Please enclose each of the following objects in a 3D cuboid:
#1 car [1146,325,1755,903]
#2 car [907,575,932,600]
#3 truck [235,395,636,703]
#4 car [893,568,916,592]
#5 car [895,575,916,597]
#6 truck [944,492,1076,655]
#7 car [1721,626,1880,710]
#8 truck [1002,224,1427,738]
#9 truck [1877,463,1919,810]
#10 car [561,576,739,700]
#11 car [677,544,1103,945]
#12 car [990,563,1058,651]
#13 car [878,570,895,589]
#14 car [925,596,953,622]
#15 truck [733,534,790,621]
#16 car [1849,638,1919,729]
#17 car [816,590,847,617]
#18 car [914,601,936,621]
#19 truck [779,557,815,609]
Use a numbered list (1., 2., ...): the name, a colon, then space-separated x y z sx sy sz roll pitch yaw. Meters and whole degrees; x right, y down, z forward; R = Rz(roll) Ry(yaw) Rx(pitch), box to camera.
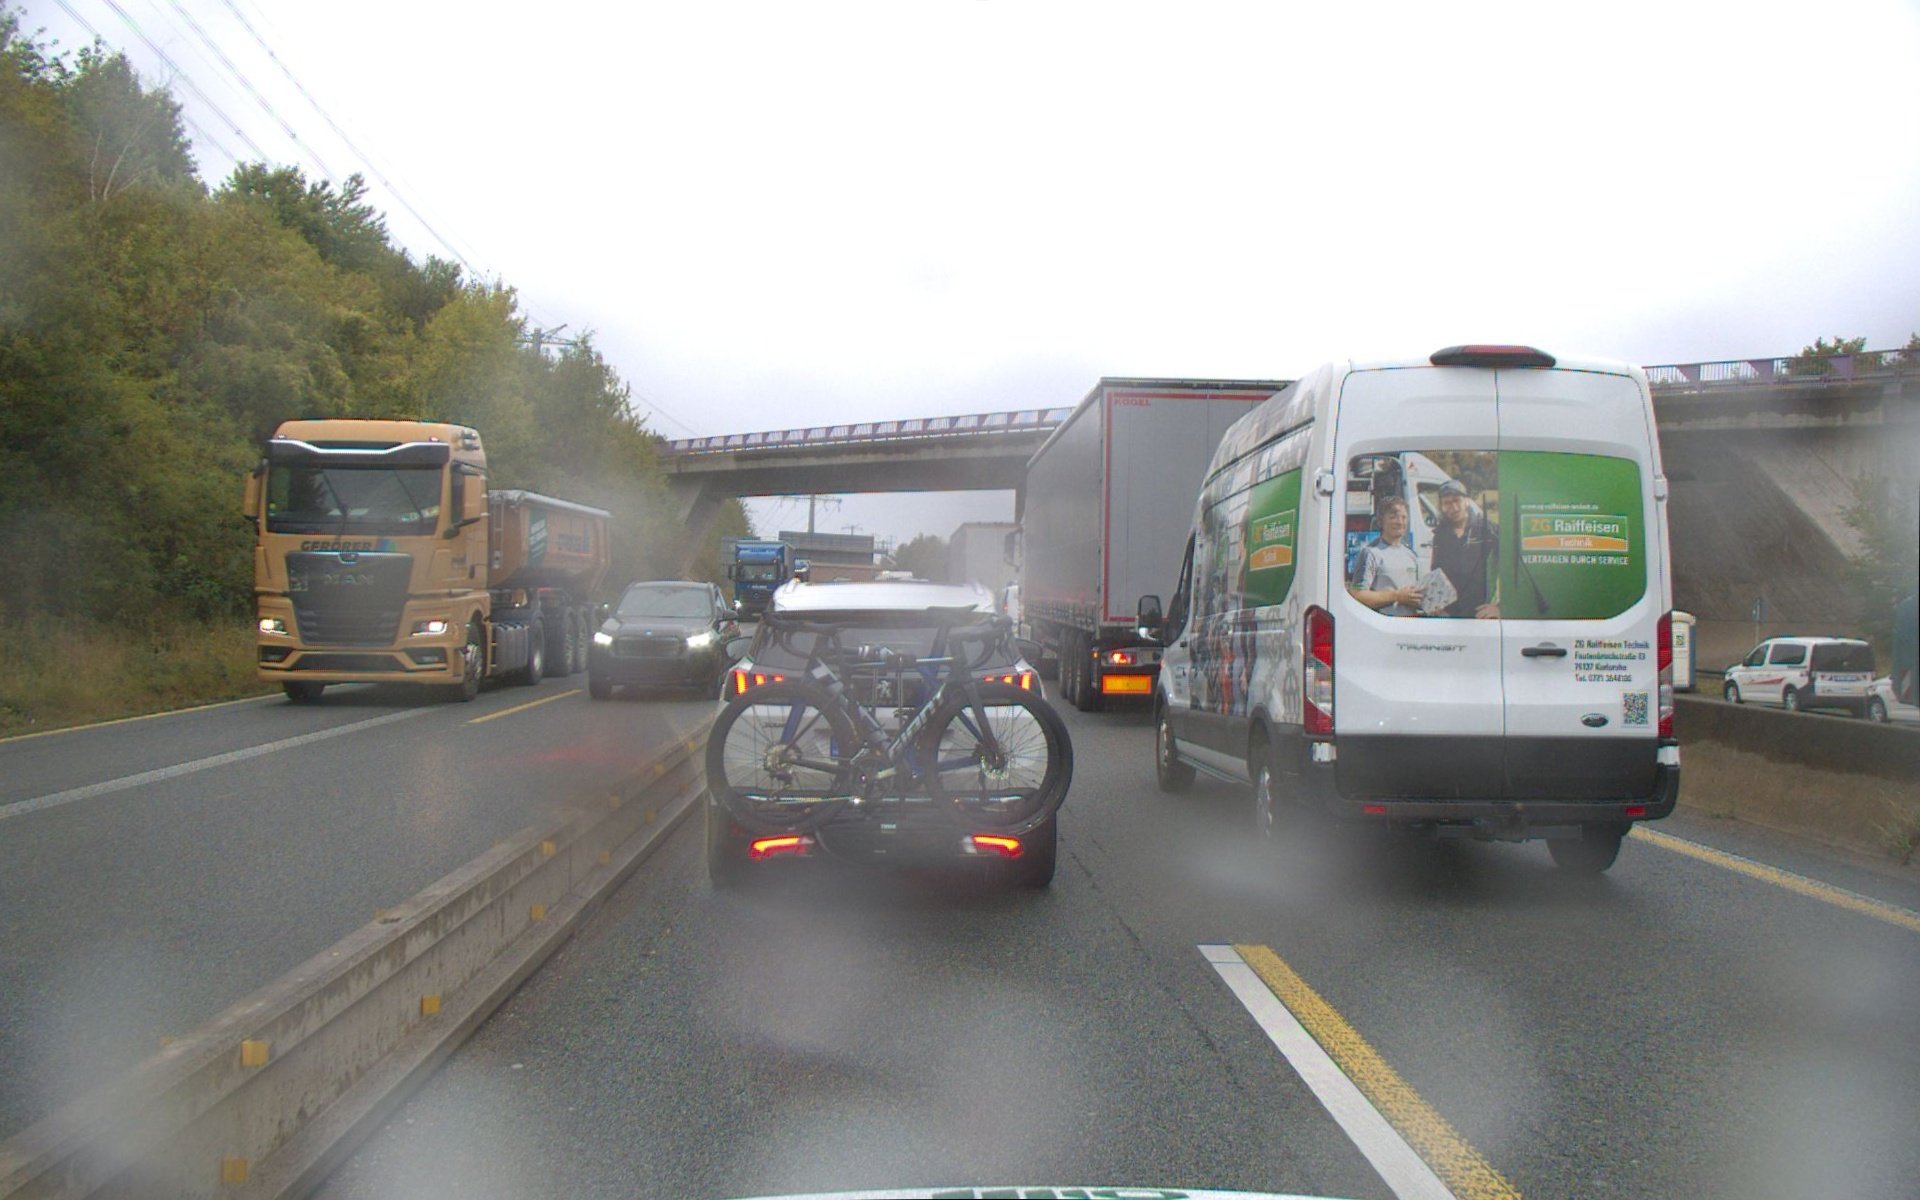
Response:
1. car: 2.687 0.083 10.927 2.101 2.723 6.116 1 0 -1
2. car: -3.412 -1.046 139.388 1.954 2.049 3.998 1 0 -3
3. truck: -7.595 -0.600 26.338 2.627 3.720 12.308 1 0 -1
4. car: -5.666 -2.053 169.714 2.194 2.348 4.570 1 0 -1
5. car: -5.174 -1.310 157.071 1.953 2.049 3.999 1 0 -1
6. truck: 1.782 -0.925 69.422 4.646 5.772 20.374 1 0 0
7. car: 20.322 1.599 40.186 1.809 1.840 4.157 1 0 1
8. truck: 3.152 -1.312 28.932 3.899 5.772 20.370 1 0 -1
9. truck: 10.149 0.337 11.354 2.469 3.186 9.116 1 0 -1
10. car: -4.423 0.518 24.212 1.896 1.635 4.119 1 0 -1
11. car: -0.296 0.618 9.281 1.773 1.666 4.635 1 0 0
12. car: 1.681 0.194 44.513 1.636 2.218 4.534 1 0 0
13. car: -8.752 -2.440 197.700 1.953 2.164 4.525 1 0 -1
14. car: -1.258 0.551 99.392 1.605 1.524 3.665 1 0 -1
15. truck: -10.622 -1.078 89.490 2.712 4.195 16.904 1 0 -6
16. car: 20.268 1.723 34.124 1.693 1.776 4.124 1 0 1
17. car: -8.061 0.246 103.728 1.748 1.638 4.102 1 0 -2
18. car: -2.587 0.820 124.179 1.605 1.524 3.665 1 0 -1
19. truck: -13.671 -1.390 139.337 2.414 4.195 10.083 1 0 -2
